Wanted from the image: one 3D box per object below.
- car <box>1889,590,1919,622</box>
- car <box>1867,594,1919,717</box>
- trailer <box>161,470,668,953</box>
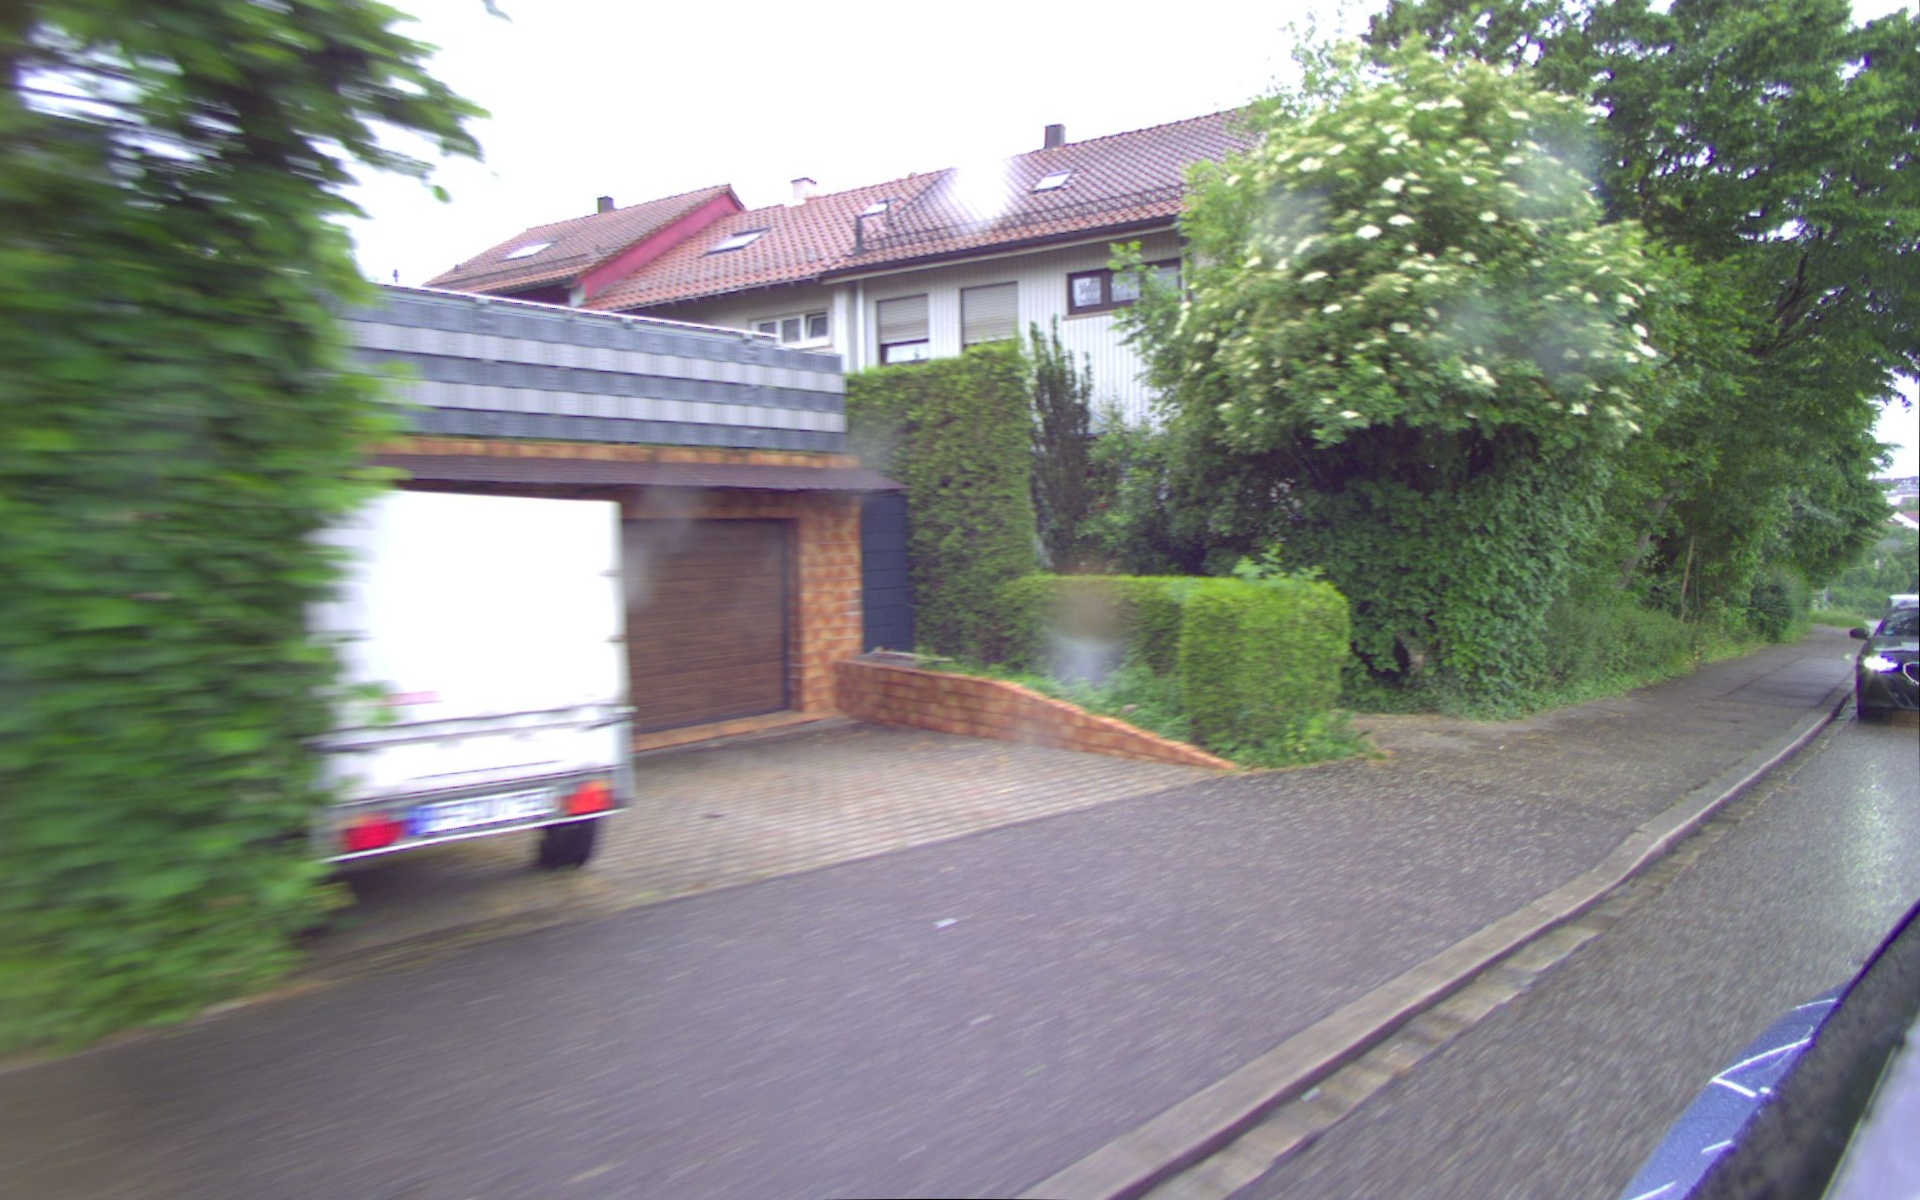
[{"bbox_3d":[52.969,0.346,56.375,1.698,1.701,4.218,2,2,42],"label":"car"},{"bbox_3d":[13.088,0.633,12.939,4.211,1.396,1.842,-1,0,-43],"label":"car"},{"bbox_3d":[-2.828,0.502,4.944,1.463,1.591,2.981,0,-6,-43],"label":"trailer"}]
